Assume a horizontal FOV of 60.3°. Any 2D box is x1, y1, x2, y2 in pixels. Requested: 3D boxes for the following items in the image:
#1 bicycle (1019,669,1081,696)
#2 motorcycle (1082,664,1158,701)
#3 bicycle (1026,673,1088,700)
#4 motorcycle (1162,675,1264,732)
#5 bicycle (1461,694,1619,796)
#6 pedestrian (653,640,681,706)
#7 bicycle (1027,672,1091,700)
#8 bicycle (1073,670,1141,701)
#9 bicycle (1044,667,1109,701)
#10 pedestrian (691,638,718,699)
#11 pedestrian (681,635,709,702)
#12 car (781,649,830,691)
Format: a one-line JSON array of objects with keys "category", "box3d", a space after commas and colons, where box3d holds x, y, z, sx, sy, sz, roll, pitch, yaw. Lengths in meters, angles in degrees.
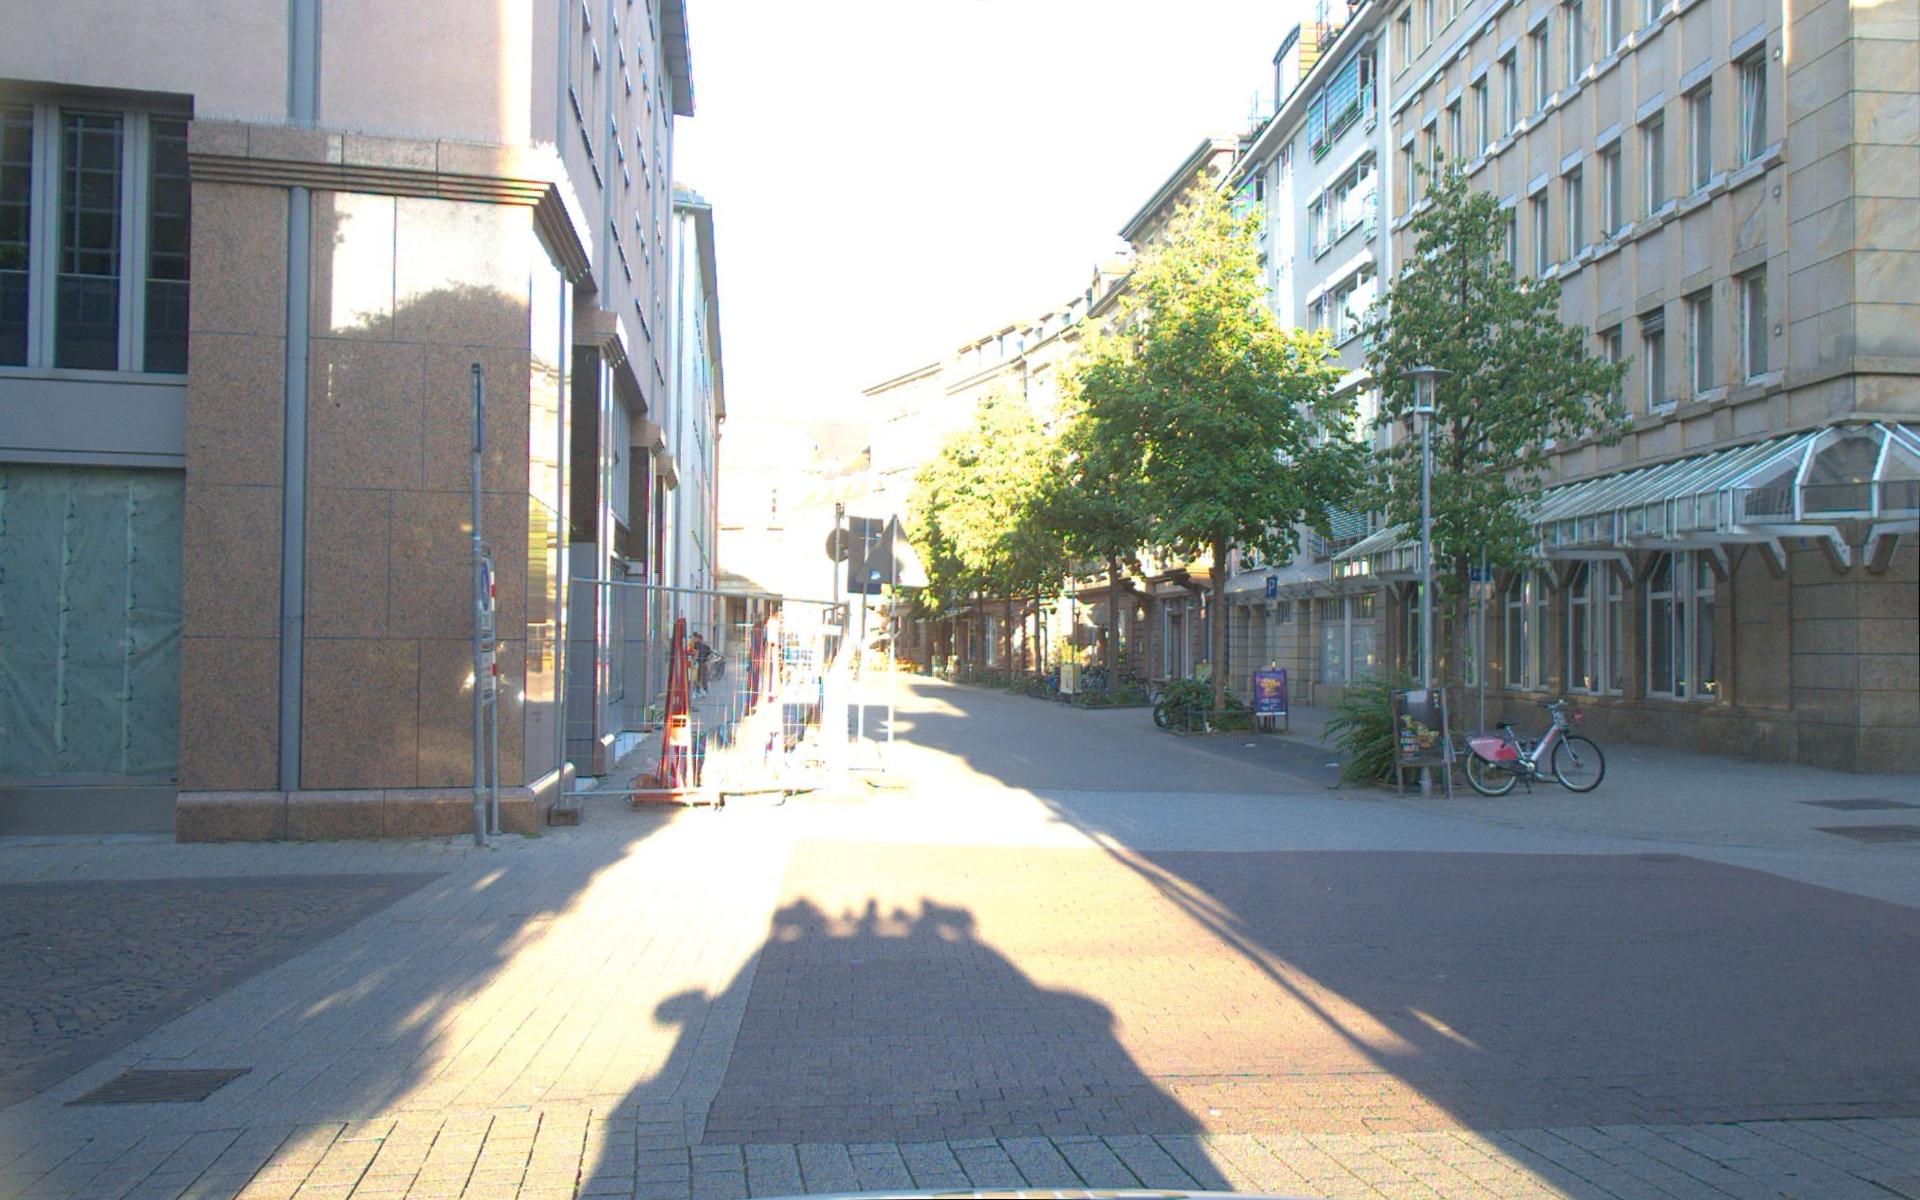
[{"category": "bicycle", "box3d": [3.232, 2.949, 59.285, 2.115, 0.942, 0.589, 0, -3, -13]}, {"category": "motorcycle", "box3d": [5.035, 2.593, 52.008, 2.442, 1.114, 0.585, 0, -3, -28]}, {"category": "bicycle", "box3d": [3.430, 3.054, 58.443, 2.115, 0.942, 0.589, 0, -3, -13]}, {"category": "motorcycle", "box3d": [5.429, 2.222, 35.539, 2.112, 1.171, 0.493, 0, -3, -8]}, {"category": "bicycle", "box3d": [6.769, 1.688, 19.357, 1.621, 1.069, 0.663, -4, -1, 13]}, {"category": "pedestrian", "box3d": [-7.927, 1.969, 44.820, 0.641, 1.756, 0.634, 0, -2, 0]}, {"category": "bicycle", "box3d": [3.429, 2.978, 57.182, 2.115, 0.942, 0.589, 0, -3, -13]}, {"category": "bicycle", "box3d": [4.732, 2.739, 53.185, 2.121, 0.942, 0.587, 0, -3, -21]}, {"category": "bicycle", "box3d": [3.885, 2.792, 54.977, 2.107, 1.080, 0.591, -1, -3, 9]}, {"category": "pedestrian", "box3d": [-7.037, 1.880, 45.532, 0.641, 1.681, 0.634, 0, -2, 0]}, {"category": "pedestrian", "box3d": [-7.203, 1.864, 45.007, 0.641, 1.795, 0.634, 0, -2, 0]}, {"category": "car", "box3d": [-6.600, 2.945, 70.457, 1.808, 1.713, 3.636, 0, -2, -10]}]
